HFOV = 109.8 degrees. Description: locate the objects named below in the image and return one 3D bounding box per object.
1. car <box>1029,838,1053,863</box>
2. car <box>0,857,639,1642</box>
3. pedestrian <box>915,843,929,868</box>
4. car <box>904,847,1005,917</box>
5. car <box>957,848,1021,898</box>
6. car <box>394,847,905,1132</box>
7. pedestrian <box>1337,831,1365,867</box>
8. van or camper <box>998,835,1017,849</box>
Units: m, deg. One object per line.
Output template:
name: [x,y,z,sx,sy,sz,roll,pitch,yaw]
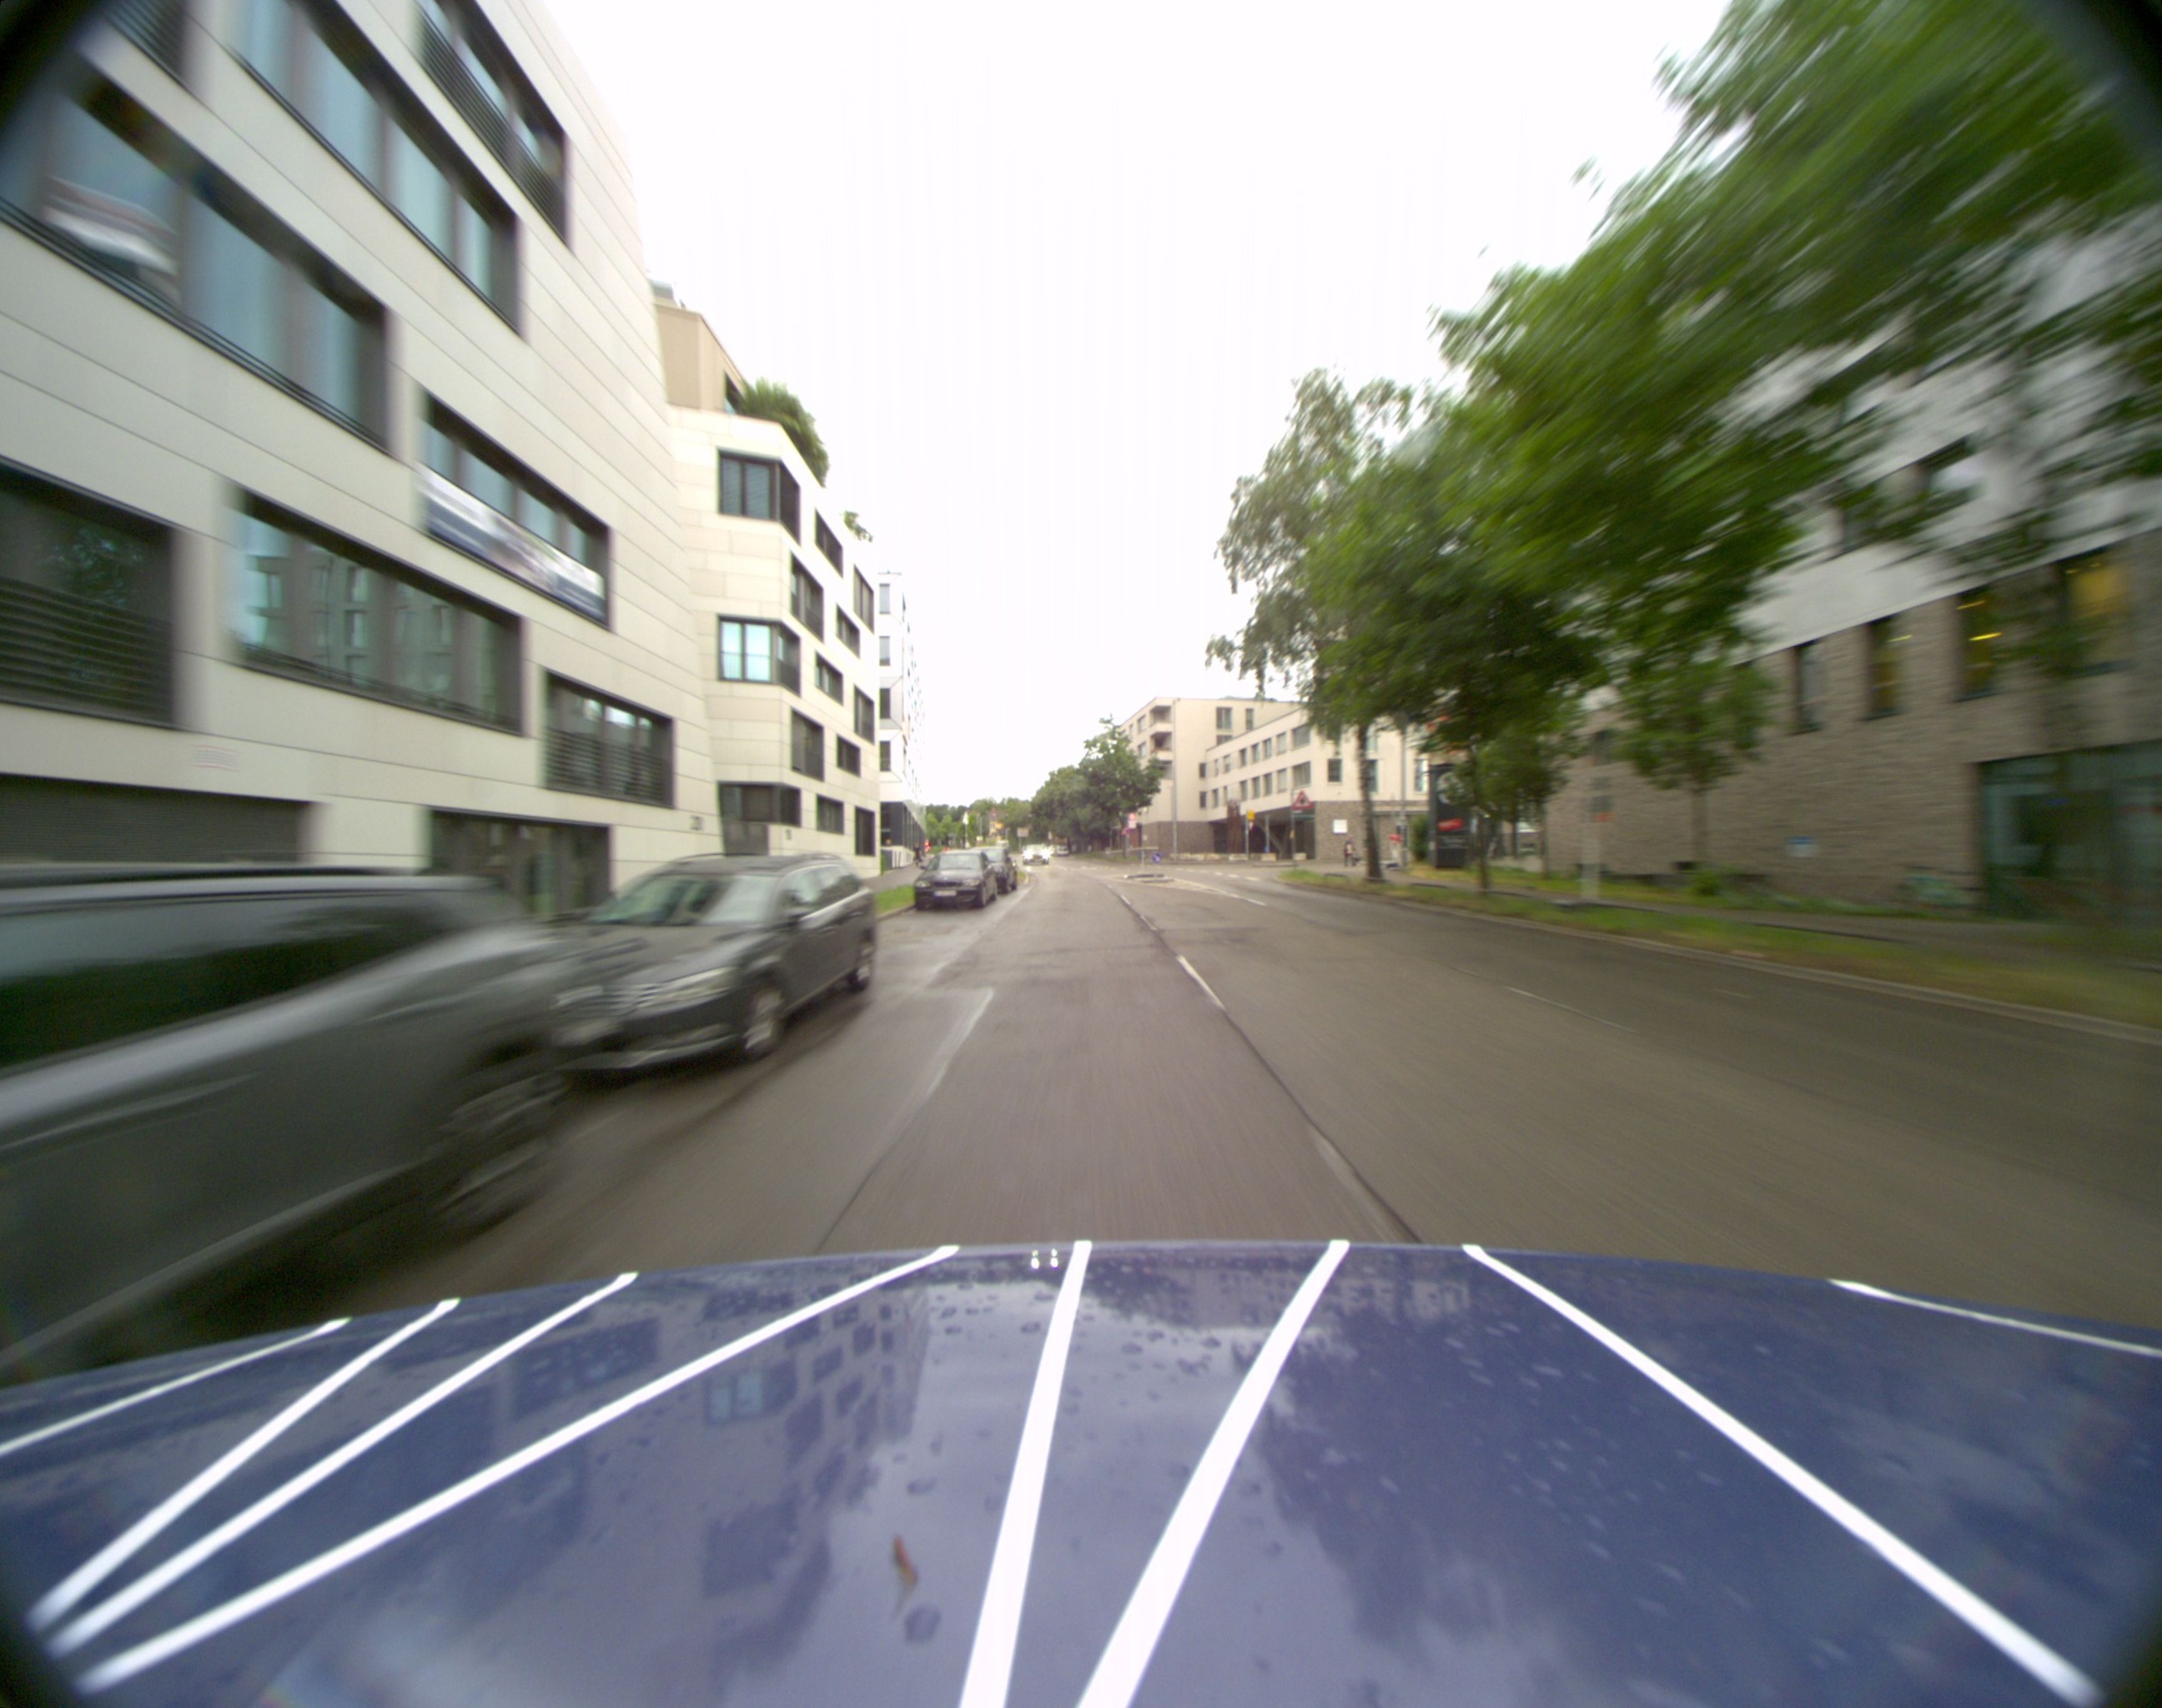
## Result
car: [-3.480,-0.339,65.510,1.848,1.961,4.340,-2,2,-5]
car: [-3.220,0.916,1.738,1.753,1.596,4.372,-1,2,1]
pedestrian: [-11.470,0.085,54.792,0.825,1.786,1.207,0,2,-5]
car: [-3.183,0.627,19.998,1.812,1.476,4.493,-1,2,1]
car: [-2.990,0.573,25.286,1.549,1.470,3.660,-1,1,2]
car: [-3.134,0.798,6.971,1.812,1.555,4.844,-1,2,1]
pedestrian: [15.729,-0.305,44.215,1.060,2.003,1.097,-3,3,-29]
van or camper: [-14.958,-2.359,153.643,2.349,2.749,6.130,-2,2,-19]
